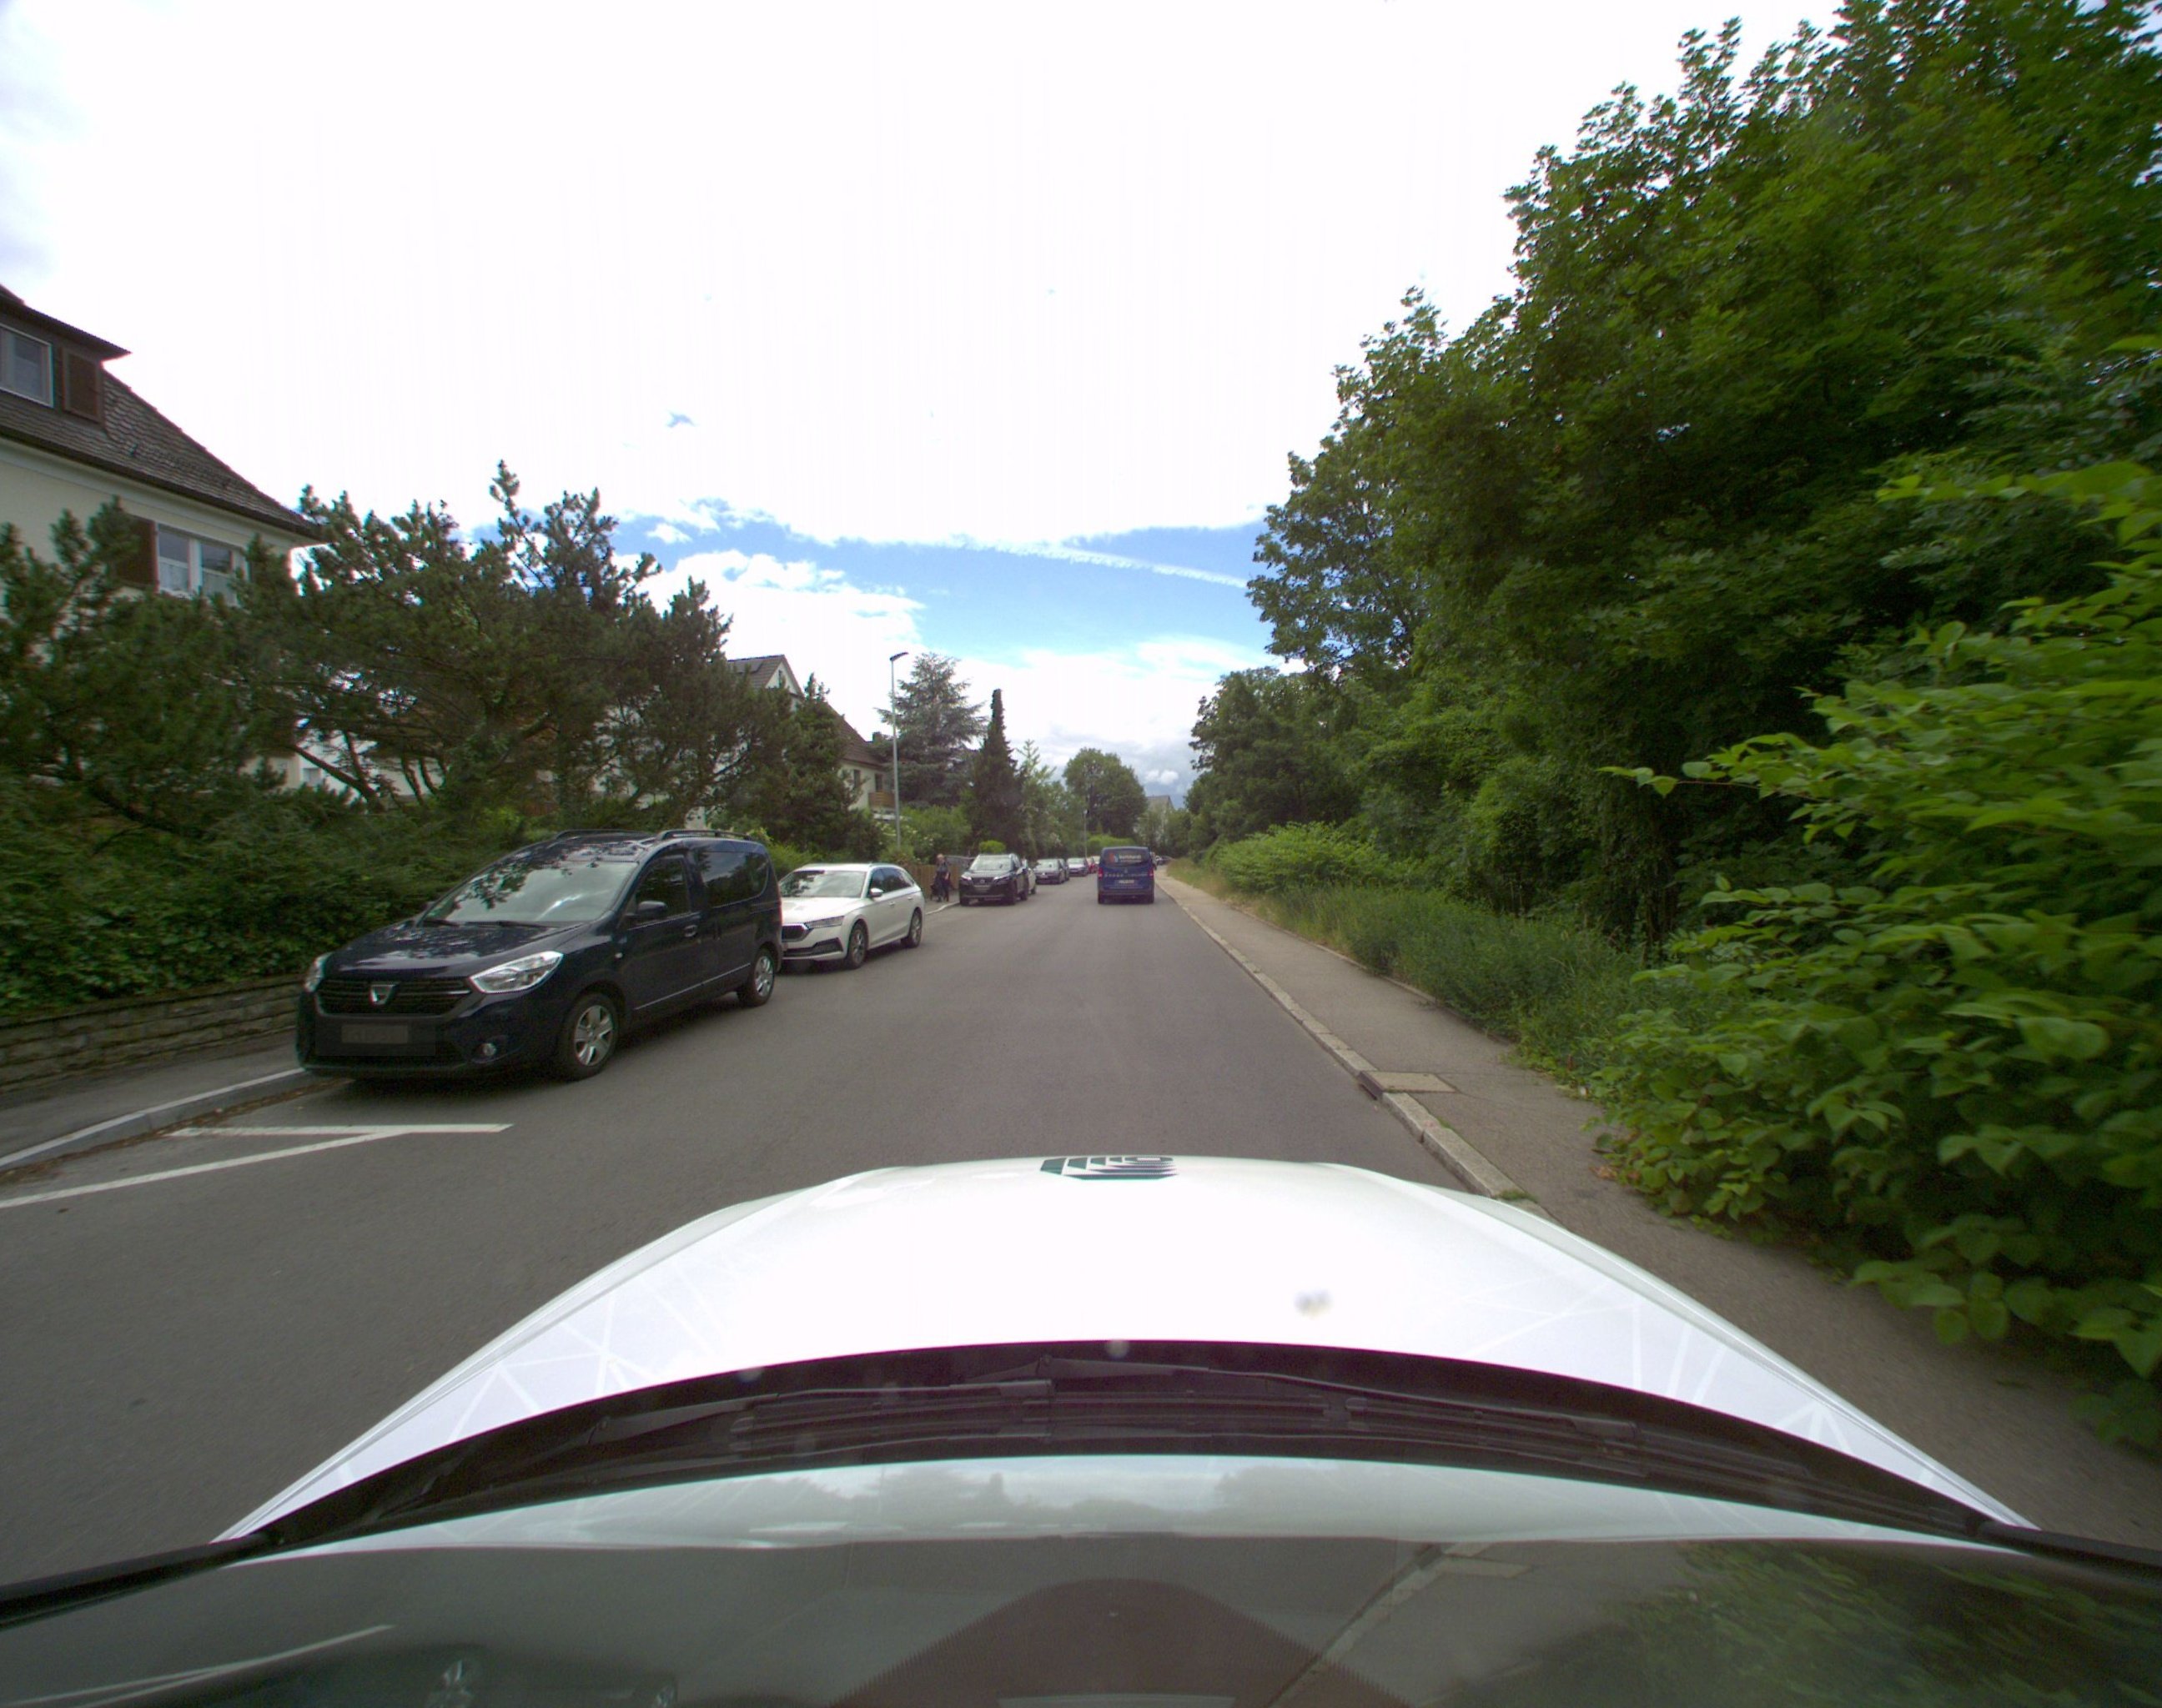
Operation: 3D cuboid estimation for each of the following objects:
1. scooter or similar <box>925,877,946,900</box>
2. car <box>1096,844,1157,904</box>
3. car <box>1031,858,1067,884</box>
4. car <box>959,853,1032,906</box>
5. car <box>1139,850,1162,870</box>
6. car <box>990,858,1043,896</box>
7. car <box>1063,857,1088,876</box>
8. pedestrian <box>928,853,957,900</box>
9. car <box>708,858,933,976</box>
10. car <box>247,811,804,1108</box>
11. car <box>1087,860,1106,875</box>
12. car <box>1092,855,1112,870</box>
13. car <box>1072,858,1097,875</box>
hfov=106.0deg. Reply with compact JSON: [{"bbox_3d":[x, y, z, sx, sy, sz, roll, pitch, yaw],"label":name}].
[{"bbox_3d":[-5.033,1.179,28.107,0.568,0.778,0.712,-1,0,1],"label":"scooter or similar"},{"bbox_3d":[1.521,0.634,28.064,1.929,1.880,4.532,-1,0,2],"label":"car"},{"bbox_3d":[-1.804,0.930,47.295,1.700,1.416,4.153,-1,0,3],"label":"car"},{"bbox_3d":[-2.879,0.827,28.207,1.784,1.664,4.396,-1,0,4],"label":"car"},{"bbox_3d":[7.488,0.657,87.227,2.194,2.064,6.146,-1,-1,7],"label":"car"},{"bbox_3d":[-2.672,0.918,34.431,1.700,1.511,3.949,-1,0,3],"label":"car"},{"bbox_3d":[-0.416,0.963,64.318,1.700,1.410,4.164,-1,0,3],"label":"car"},{"bbox_3d":[-4.672,0.756,27.531,0.766,1.574,0.821,-1,-1,4],"label":"pedestrian"},{"bbox_3d":[-3.791,0.828,12.804,1.699,1.511,4.561,-1,0,5],"label":"car"},{"bbox_3d":[-4.151,0.653,7.135,1.699,1.799,4.302,-1,0,4],"label":"car"},{"bbox_3d":[1.576,1.359,82.559,1.535,1.514,3.652,-1,0,8],"label":"car"},{"bbox_3d":[2.259,0.895,87.140,1.578,1.514,3.600,-1,0,10],"label":"car"},{"bbox_3d":[0.372,1.130,74.800,1.697,1.514,4.373,-1,0,8],"label":"car"}]
